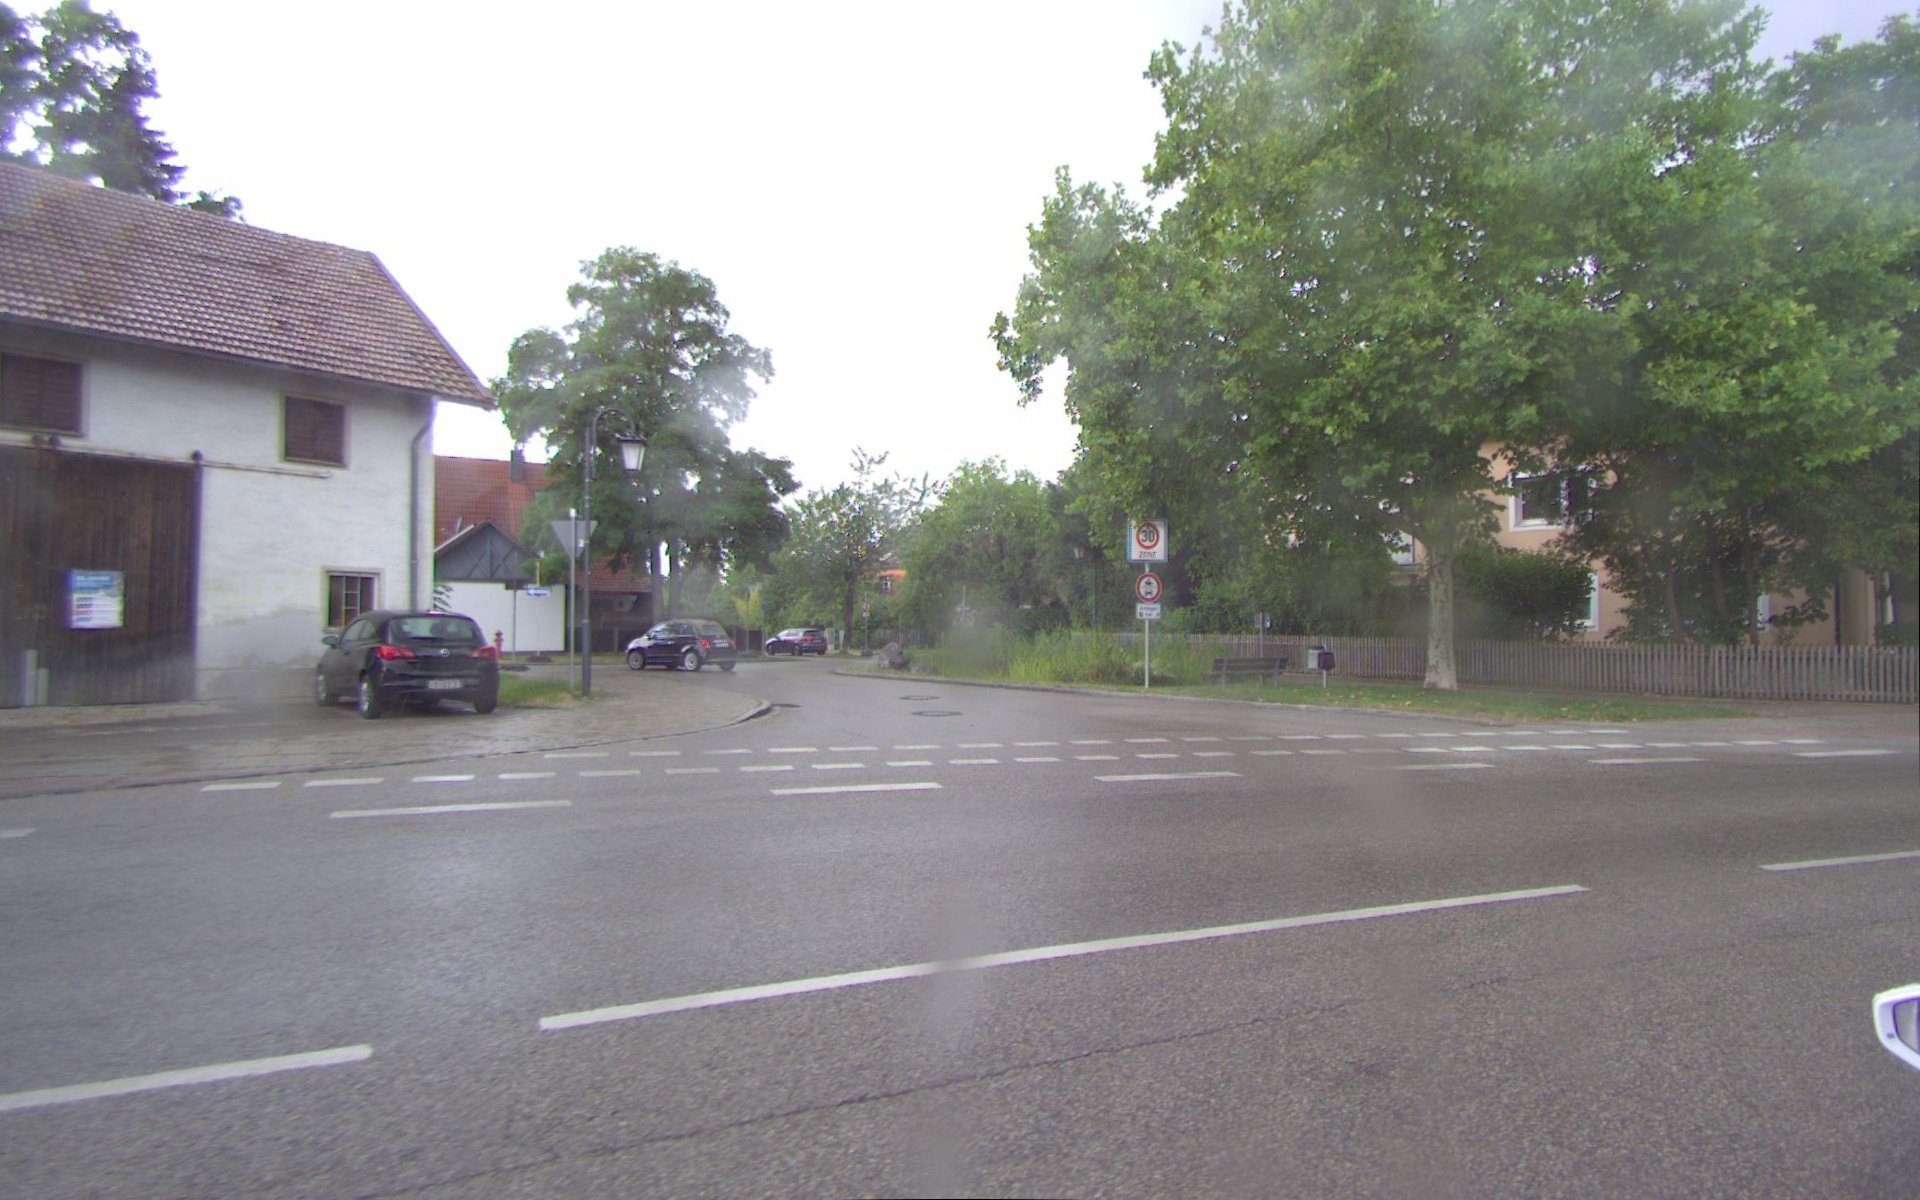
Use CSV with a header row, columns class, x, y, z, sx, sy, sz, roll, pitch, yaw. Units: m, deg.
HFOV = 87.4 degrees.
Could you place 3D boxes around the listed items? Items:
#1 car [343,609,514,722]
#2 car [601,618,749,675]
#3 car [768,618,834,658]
class,x,y,z,sx,sy,sz,roll,pitch,yaw
car,-8.140,0.892,15.188,1.802,1.455,4.240,2,-2,-34
car,-8.494,1.347,29.895,4.206,1.569,1.876,0,-2,32
car,-8.794,2.058,55.284,1.981,2.040,3.959,2,0,-36
